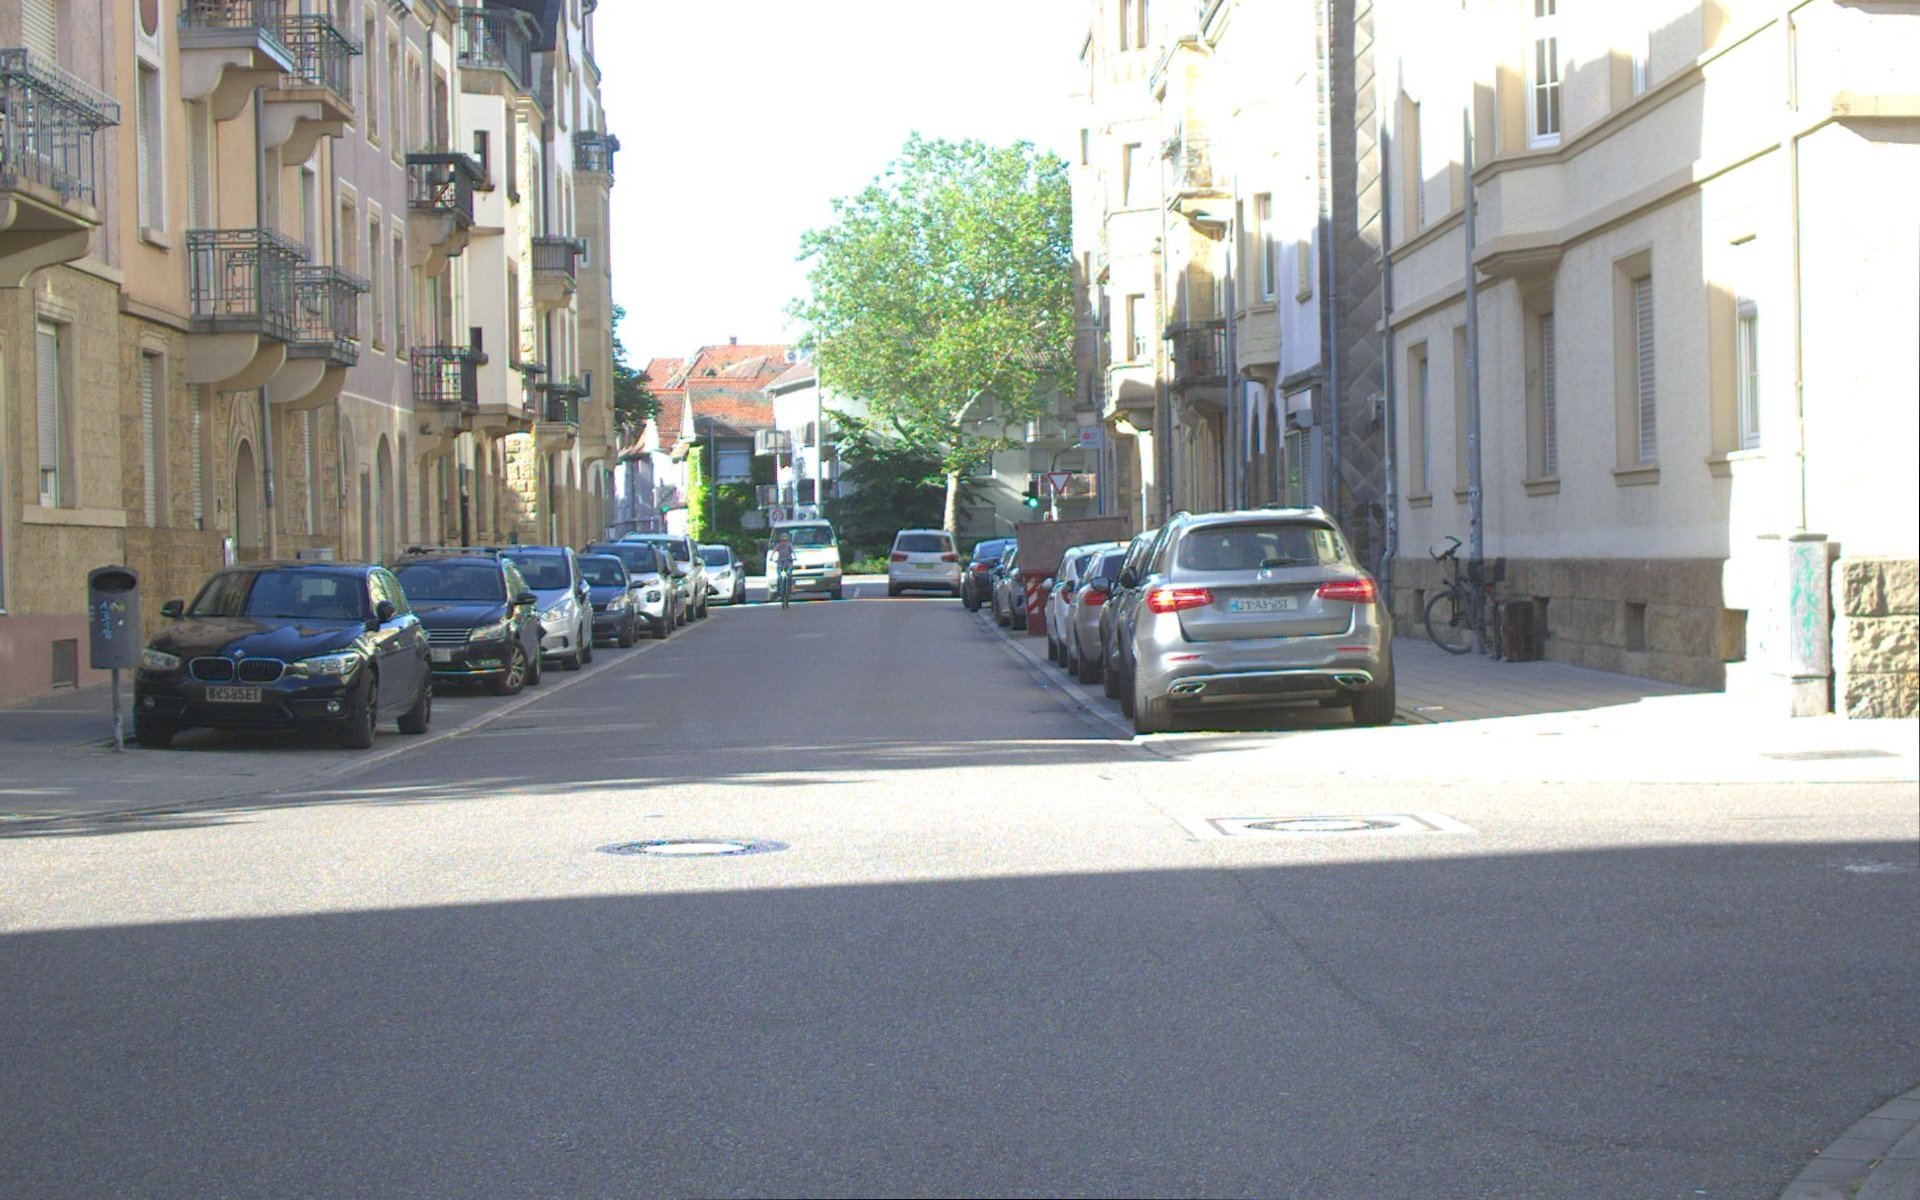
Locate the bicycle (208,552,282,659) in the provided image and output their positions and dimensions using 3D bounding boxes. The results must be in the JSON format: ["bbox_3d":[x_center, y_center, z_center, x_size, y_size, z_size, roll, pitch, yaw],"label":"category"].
[{"bbox_3d":[-8.898,0.058,42.824,0.541,1.297,1.867,0,1,0],"label":"bicycle"}]

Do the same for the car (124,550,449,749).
[{"bbox_3d":[-5.229,0.356,27.196,1.679,1.421,4.274,1,0,0],"label":"car"}]

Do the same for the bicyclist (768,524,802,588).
[{"bbox_3d":[-3.908,-0.983,76.808,0.662,1.381,0.754,-3,0,-2],"label":"bicyclist"}]

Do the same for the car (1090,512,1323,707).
[{"bbox_3d":[2.192,0.096,31.512,1.745,1.602,4.029,-2,0,-1],"label":"car"}]

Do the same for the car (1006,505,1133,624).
[{"bbox_3d":[1.740,-0.548,55.763,1.838,1.781,4.029,-2,-1,-1],"label":"car"}]

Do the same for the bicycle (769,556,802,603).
[{"bbox_3d":[-3.896,-0.458,76.793,0.662,1.015,2.066,-3,0,-2],"label":"bicycle"}]

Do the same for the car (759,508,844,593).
[{"bbox_3d":[-3.890,-1.204,84.877,2.003,1.993,4.488,1,0,-2],"label":"car"}]

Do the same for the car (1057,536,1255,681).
[{"bbox_3d":[2.080,0.106,37.577,1.838,1.426,4.029,-2,0,-1],"label":"car"}]

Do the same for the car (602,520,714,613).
[{"bbox_3d":[-6.070,-0.668,69.556,2.003,1.782,4.488,1,0,-2],"label":"car"}]

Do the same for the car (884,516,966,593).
[{"bbox_3d":[-0.931,-1.146,88.706,2.003,1.907,4.487,1,0,-1],"label":"car"}]

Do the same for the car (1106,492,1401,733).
[{"bbox_3d":[2.193,0.107,26.889,1.913,1.639,4.773,-2,0,1],"label":"car"}]

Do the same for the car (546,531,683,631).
[{"bbox_3d":[-5.850,-0.318,58.656,2.003,1.613,4.488,1,0,-2],"label":"car"}]

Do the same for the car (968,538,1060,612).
[{"bbox_3d":[1.147,-0.520,74.583,1.838,1.427,4.029,-2,-1,-1],"label":"car"}]

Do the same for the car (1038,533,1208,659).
[{"bbox_3d":[1.983,-0.034,42.968,1.838,1.426,4.029,-2,0,-1],"label":"car"}]

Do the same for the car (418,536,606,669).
[{"bbox_3d":[-5.812,0.024,45.048,2.003,1.613,4.488,1,0,-2],"label":"car"}]

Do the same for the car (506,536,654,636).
[{"bbox_3d":[-5.937,-0.218,54.111,1.978,1.477,4.328,1,0,-2],"label":"car"}]

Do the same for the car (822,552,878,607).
[{"bbox_3d":[-4.104,-0.751,127.915,2.003,1.993,4.488,1,0,-2],"label":"car"}]

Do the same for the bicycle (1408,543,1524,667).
[{"bbox_3d":[5.324,0.026,36.309,0.761,1.242,2.592,-1,1,-1],"label":"bicycle"}]

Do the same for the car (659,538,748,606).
[{"bbox_3d":[-6.314,-0.678,85.086,2.003,1.600,4.488,1,0,-2],"label":"car"}]

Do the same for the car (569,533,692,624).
[{"bbox_3d":[-6.105,-0.396,64.080,2.003,1.613,4.488,1,0,-2],"label":"car"}]

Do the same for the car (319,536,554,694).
[{"bbox_3d":[-5.630,0.145,37.483,2.003,1.577,4.488,1,0,-2],"label":"car"}]
